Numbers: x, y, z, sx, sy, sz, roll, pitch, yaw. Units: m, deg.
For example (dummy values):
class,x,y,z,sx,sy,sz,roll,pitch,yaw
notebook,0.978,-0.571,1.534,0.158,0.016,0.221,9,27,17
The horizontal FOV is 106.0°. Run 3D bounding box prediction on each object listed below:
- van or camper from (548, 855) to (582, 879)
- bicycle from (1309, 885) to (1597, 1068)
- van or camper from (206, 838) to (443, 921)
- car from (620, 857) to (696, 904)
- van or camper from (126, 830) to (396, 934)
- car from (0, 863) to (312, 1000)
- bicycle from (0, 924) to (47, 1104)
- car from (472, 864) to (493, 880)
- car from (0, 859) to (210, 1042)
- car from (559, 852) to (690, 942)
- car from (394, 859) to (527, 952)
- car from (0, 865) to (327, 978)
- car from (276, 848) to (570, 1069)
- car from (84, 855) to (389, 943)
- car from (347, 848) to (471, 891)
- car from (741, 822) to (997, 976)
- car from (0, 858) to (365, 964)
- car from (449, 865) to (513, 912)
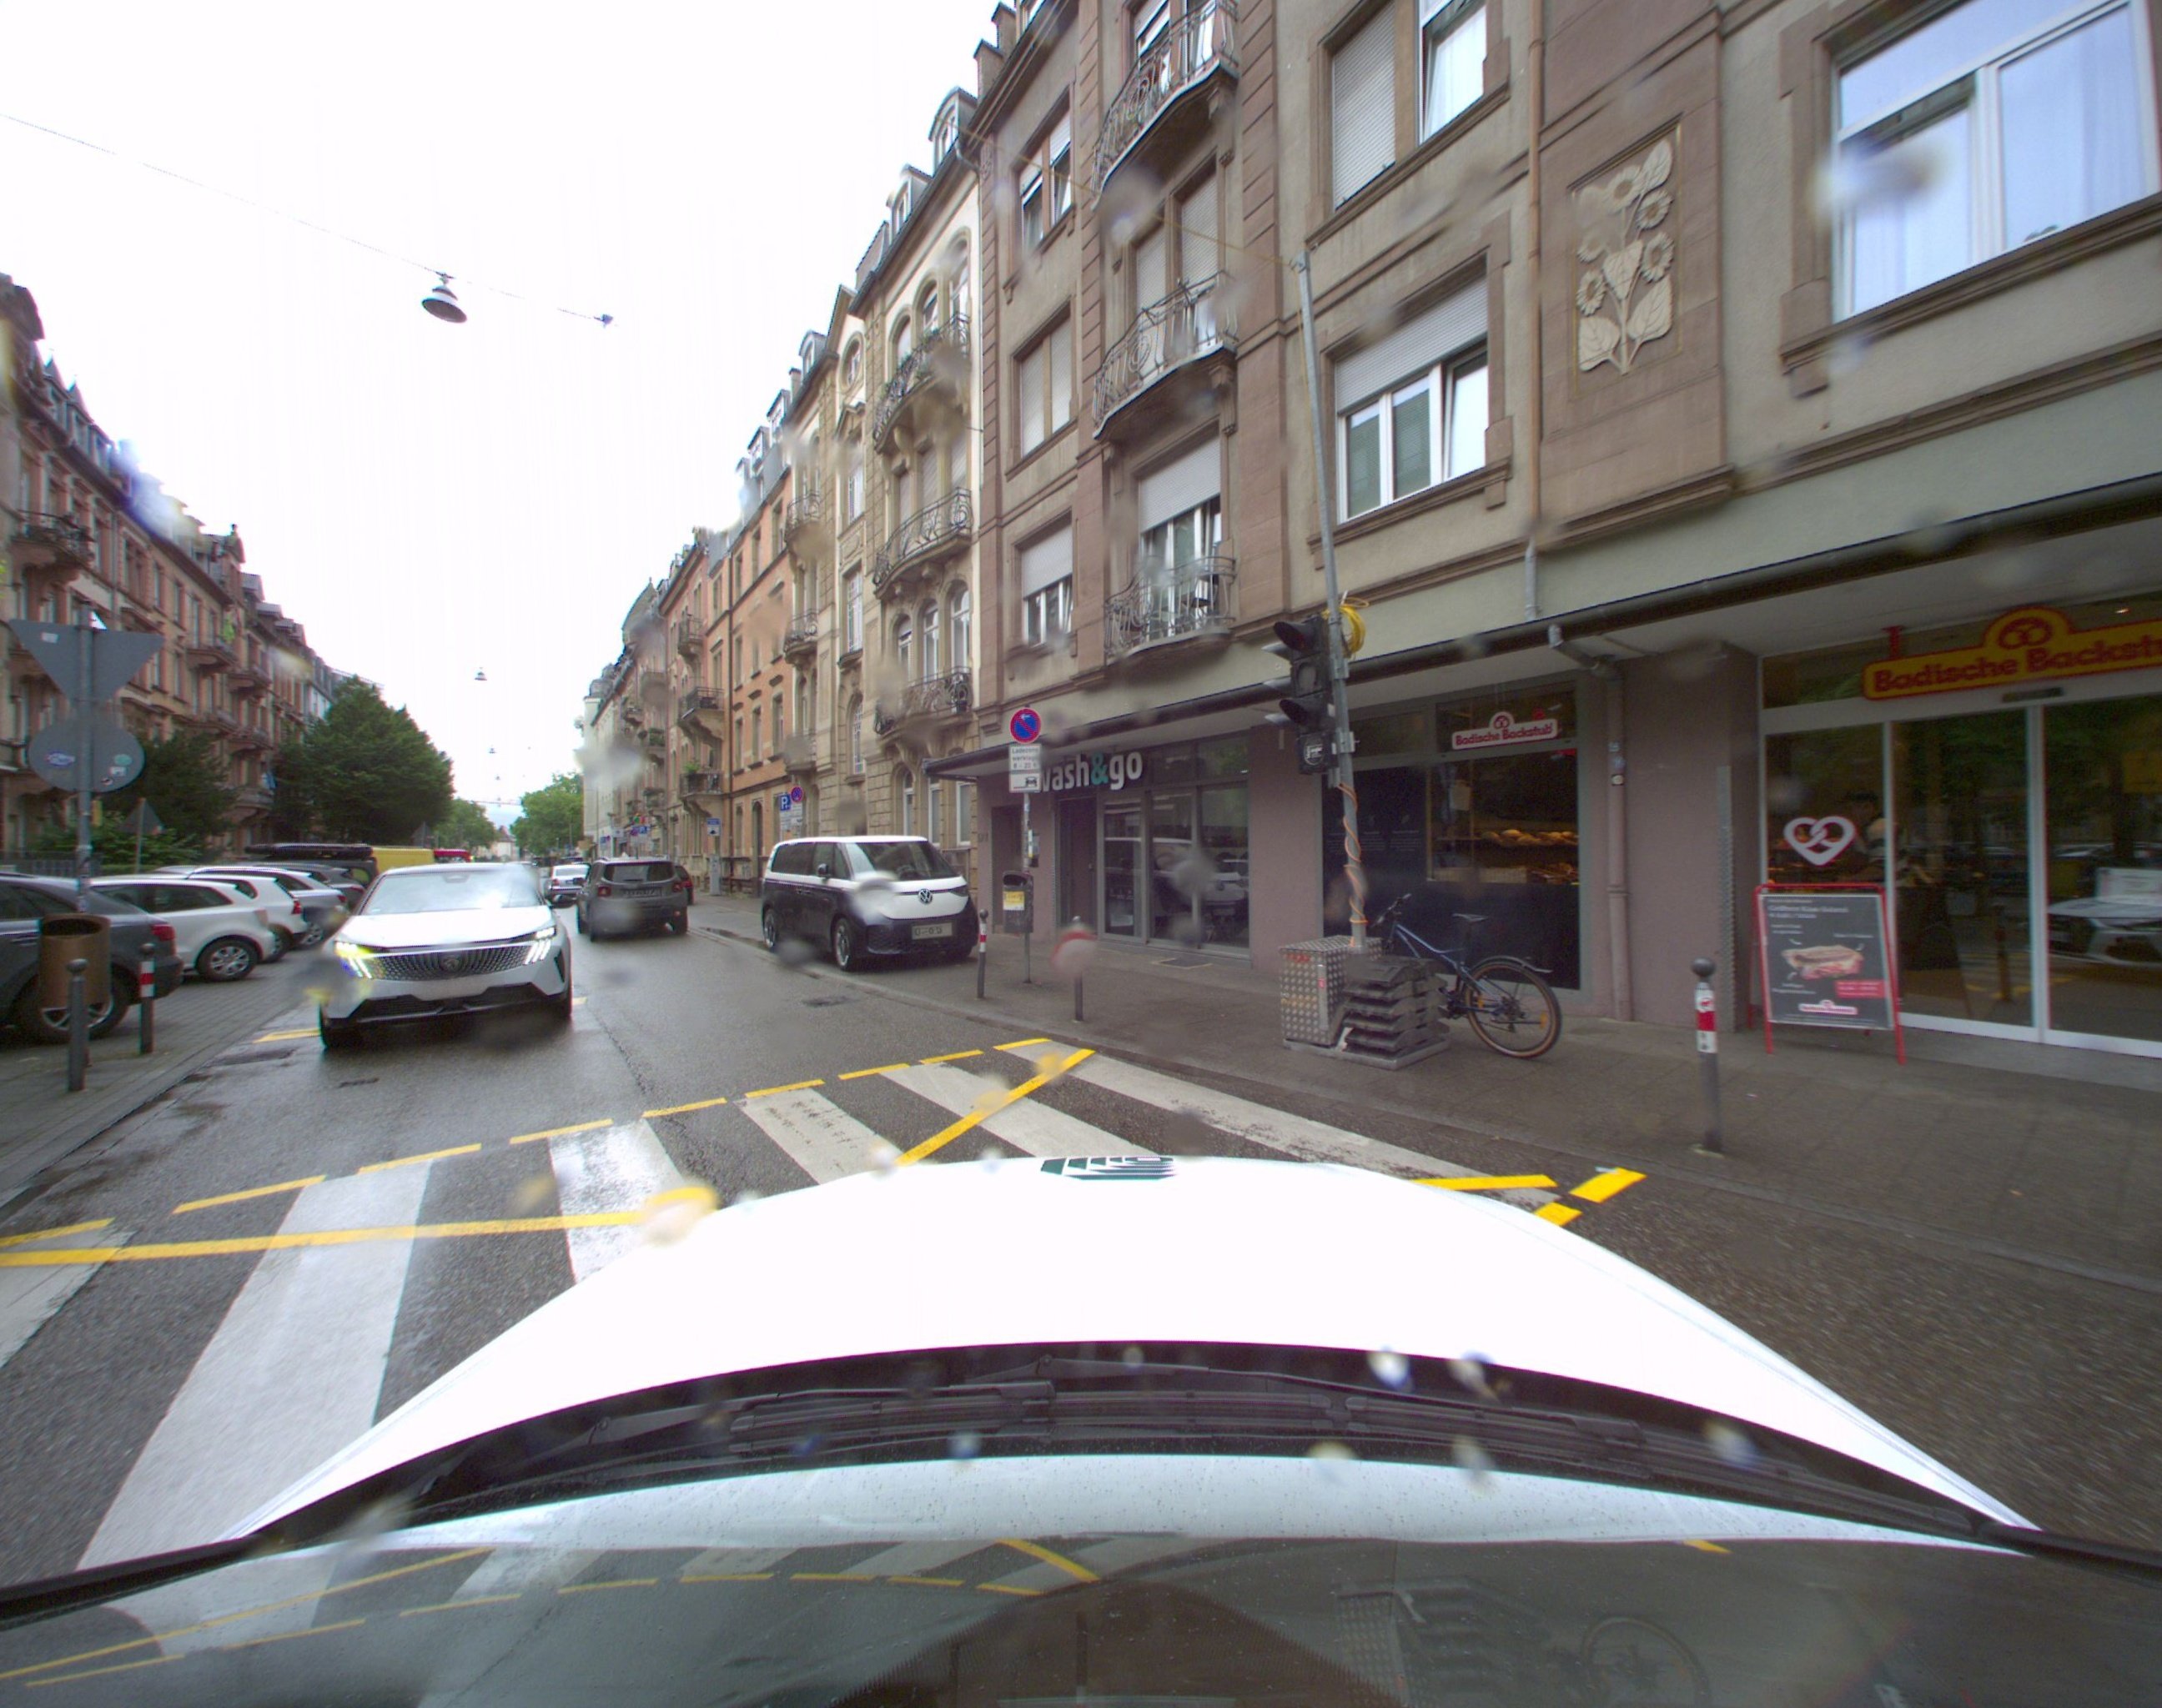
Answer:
class,x,y,z,sx,sy,sz,roll,pitch,yaw
van or camper,-43.642,1.097,68.849,2.037,1.890,4.999,-2,1,-36
bicycle,2.746,0.832,6.227,0.629,1.128,1.916,-1,0,-39
van or camper,-22.800,0.747,24.830,2.159,2.268,4.751,1,-1,22
car,-14.952,0.951,28.687,1.800,1.466,4.435,-1,-2,-35
van or camper,-19.647,0.716,19.767,1.914,2.240,4.105,-2,-3,22
car,-13.291,0.912,10.276,1.977,1.563,4.748,1,-1,21
bicycle,-7.879,1.074,5.601,1.661,1.143,0.590,-1,-1,26
car,-63.858,1.905,86.877,1.683,1.559,3.958,-1,0,-38
car,-10.486,0.829,6.422,1.977,1.563,4.478,-2,-2,18
car,-10.081,0.848,17.806,1.914,1.670,4.455,-2,0,-37
car,-12.033,1.029,15.948,1.809,1.494,4.092,-3,-3,-36
car,-14.678,0.978,12.483,1.780,1.494,4.157,-1,-3,19
car,-6.804,0.867,9.004,1.871,1.660,4.957,-3,0,-32
car,-17.978,0.967,17.646,1.781,1.662,4.157,-1,-3,18
car,-42.517,0.931,51.700,2.201,2.541,5.607,0,0,27
car,-3.615,0.594,13.037,2.010,1.938,5.170,-3,1,-38
car,-16.254,0.987,15.033,1.781,1.662,4.157,0,-3,18
car,-23.340,1.313,31.808,1.808,1.494,4.534,4,-1,-35
